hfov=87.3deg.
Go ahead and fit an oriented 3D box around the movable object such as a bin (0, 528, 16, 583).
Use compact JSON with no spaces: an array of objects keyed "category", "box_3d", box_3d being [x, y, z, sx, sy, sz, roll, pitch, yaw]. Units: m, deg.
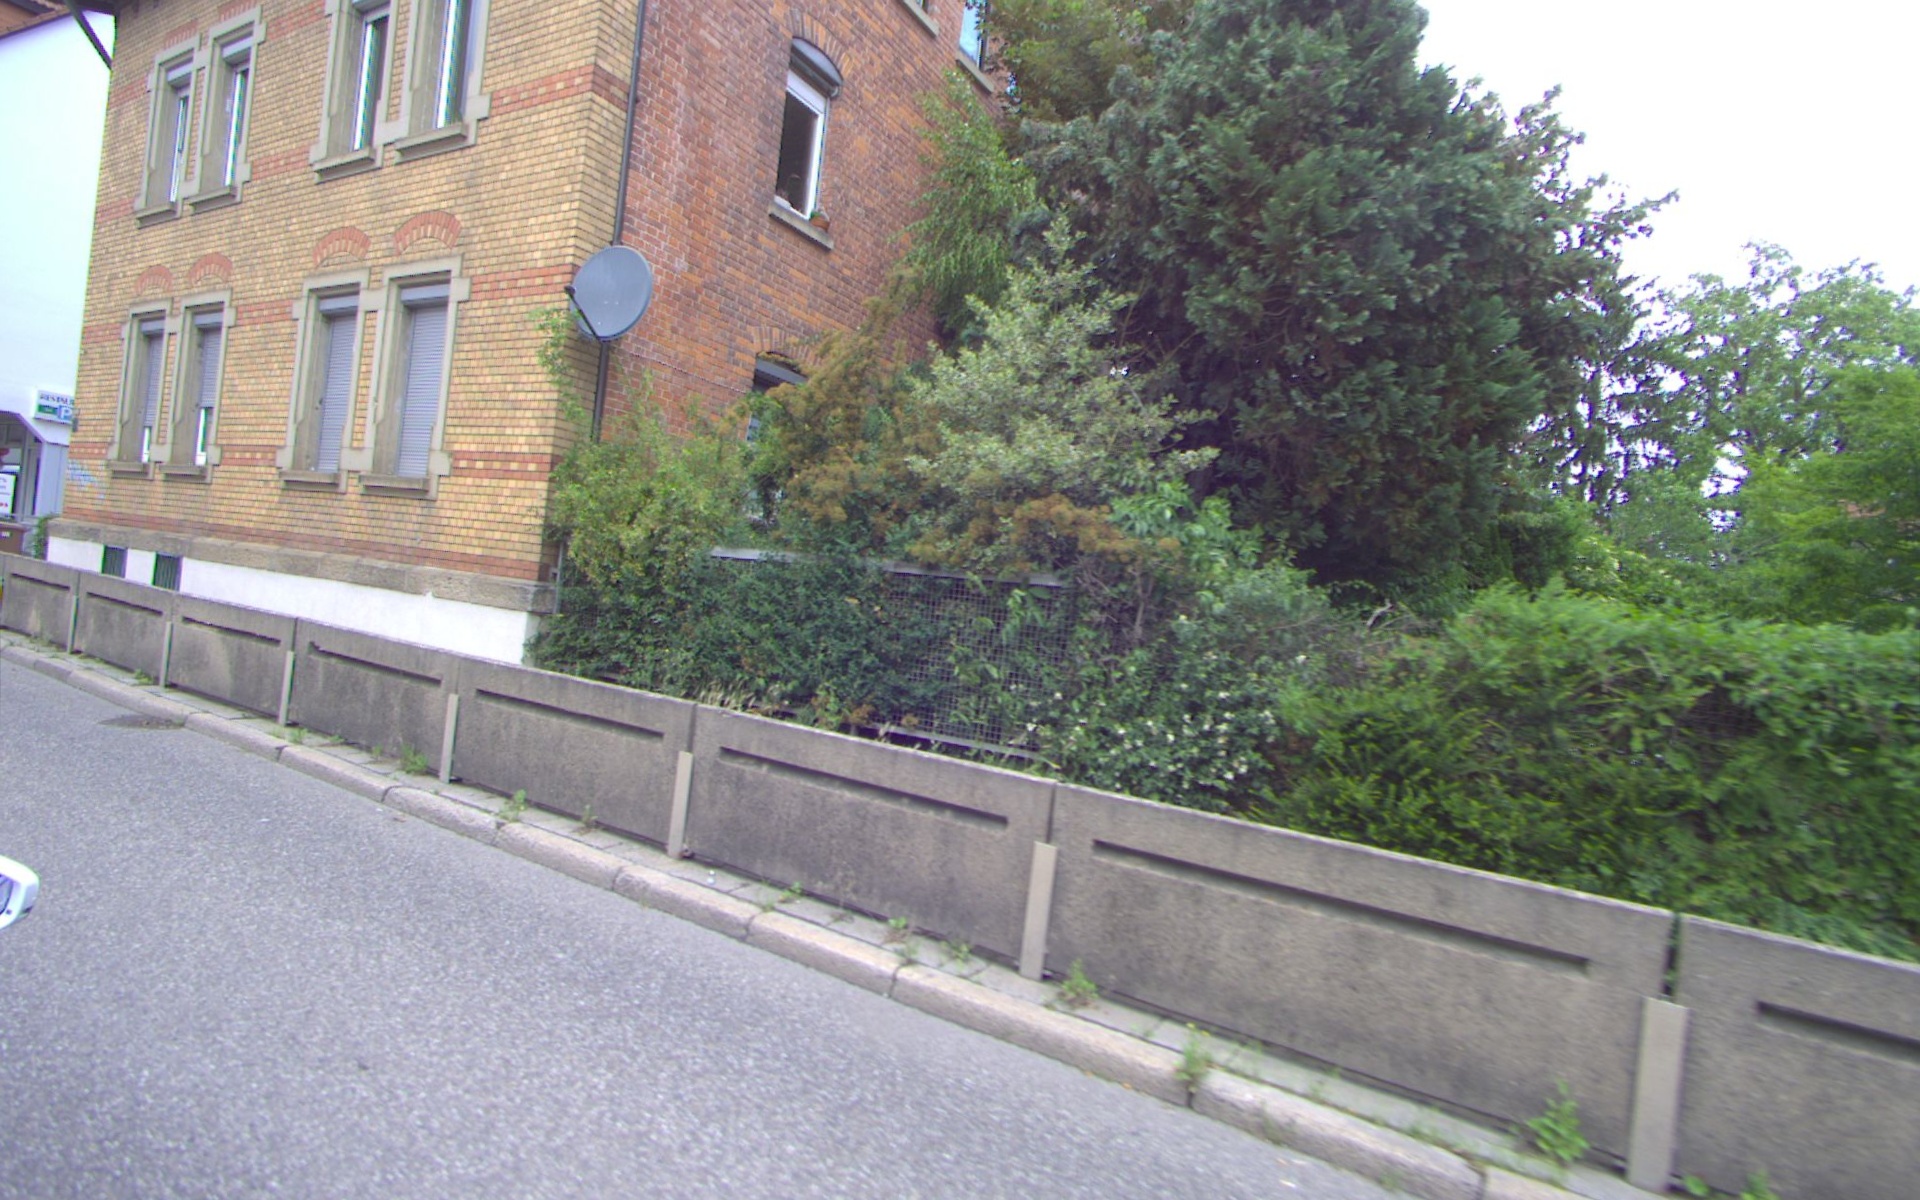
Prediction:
[{"category":"movable object such as a bin","box_3d":[-16.664,-0.788,17.341,0.449,0.915,0.398,7,0,32]}]
